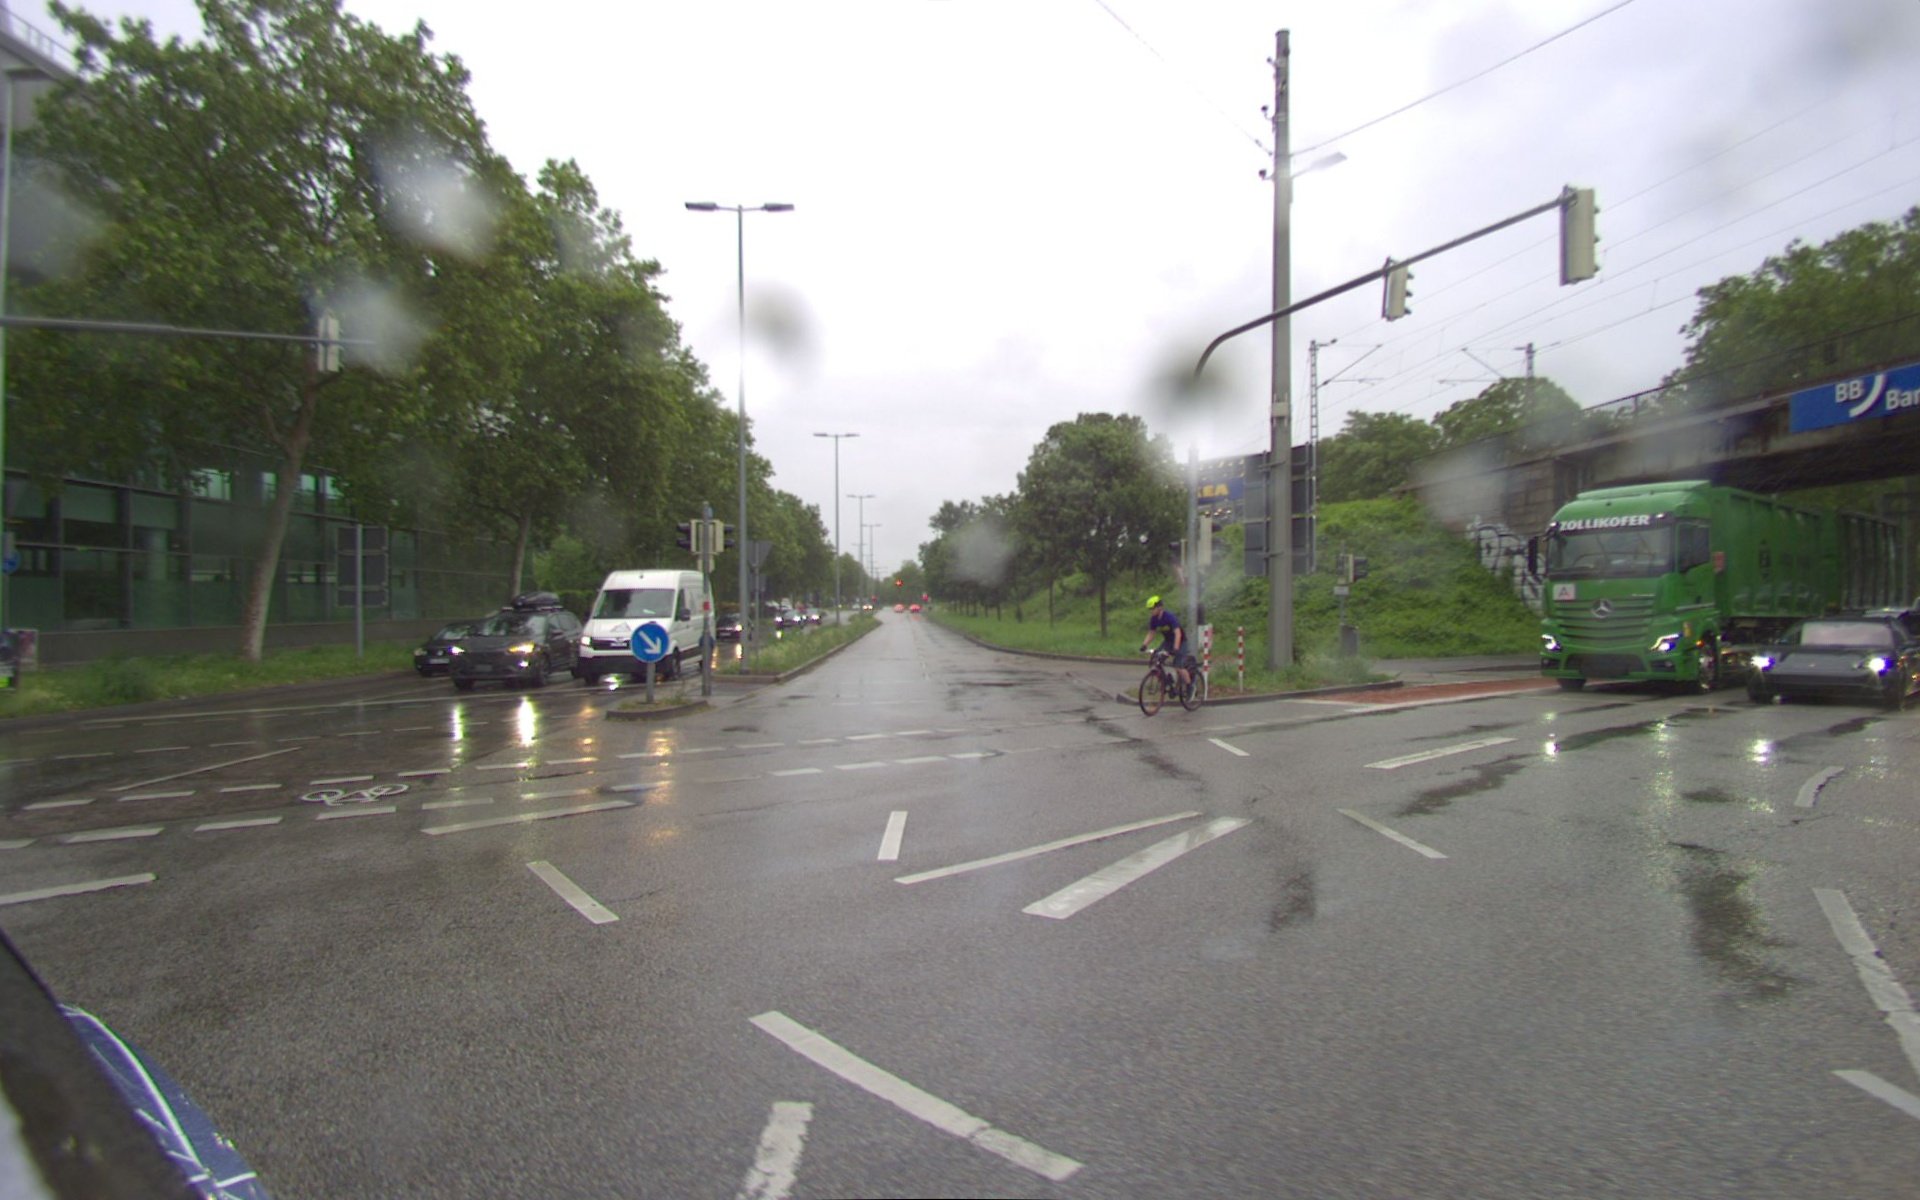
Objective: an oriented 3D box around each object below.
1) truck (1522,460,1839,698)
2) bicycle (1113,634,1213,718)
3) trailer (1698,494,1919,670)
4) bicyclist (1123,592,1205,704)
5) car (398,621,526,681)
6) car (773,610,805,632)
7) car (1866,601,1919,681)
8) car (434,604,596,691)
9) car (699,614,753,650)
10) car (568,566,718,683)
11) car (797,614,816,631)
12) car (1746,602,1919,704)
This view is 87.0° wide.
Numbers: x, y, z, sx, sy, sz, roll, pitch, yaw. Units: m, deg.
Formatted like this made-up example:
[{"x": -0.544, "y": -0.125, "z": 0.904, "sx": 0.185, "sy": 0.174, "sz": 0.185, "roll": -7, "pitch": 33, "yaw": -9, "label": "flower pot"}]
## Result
[{"x": 15.366, "y": -0.343, "z": 21.130, "sx": 10.031, "sy": 3.979, "sz": 2.693, "roll": 0, "pitch": -1, "yaw": -38, "label": "truck"}, {"x": 3.077, "y": 1.101, "z": 15.223, "sx": 0.693, "sy": 1.103, "sz": 1.889, "roll": -2, "pitch": -1, "yaw": 37, "label": "bicycle"}, {"x": 22.642, "y": -0.422, "z": 26.805, "sx": 8.382, "sy": 4.017, "sz": 2.695, "roll": 0, "pitch": 0, "yaw": -37, "label": "trailer"}, {"x": 3.081, "y": 0.696, "z": 15.238, "sx": 0.804, "sy": 1.605, "sz": 1.034, "roll": -2, "pitch": 0, "yaw": 38, "label": "bicyclist"}, {"x": -13.418, "y": 1.322, "z": 27.533, "sx": 1.776, "sy": 1.447, "sz": 4.004, "roll": -1, "pitch": -1, "yaw": -5, "label": "car"}, {"x": -13.026, "y": 1.558, "z": 77.246, "sx": 1.882, "sy": 1.597, "sz": 3.925, "roll": 0, "pitch": 0, "yaw": -1, "label": "car"}, {"x": 20.727, "y": 0.824, "z": 21.224, "sx": 3.937, "sy": 1.586, "sz": 2.003, "roll": 0, "pitch": -1, "yaw": -40, "label": "car"}, {"x": -9.863, "y": 1.006, "z": 22.832, "sx": 1.970, "sy": 1.761, "sz": 4.330, "roll": 0, "pitch": -1, "yaw": -3, "label": "car"}, {"x": -11.596, "y": 1.577, "z": 50.453, "sx": 1.842, "sy": 1.696, "sz": 4.001, "roll": 0, "pitch": 0, "yaw": -1, "label": "car"}, {"x": -7.361, "y": 0.538, "z": 24.194, "sx": 1.941, "sy": 2.452, "sz": 5.964, "roll": 0, "pitch": -1, "yaw": -2, "label": "car"}, {"x": -14.669, "y": 2.124, "z": 96.673, "sx": 1.558, "sy": 1.534, "sz": 3.929, "roll": 0, "pitch": 0, "yaw": -5, "label": "car"}, {"x": 15.002, "y": 0.791, "z": 16.937, "sx": 4.608, "sy": 1.496, "sz": 1.750, "roll": 0, "pitch": -1, "yaw": -37, "label": "car"}]
